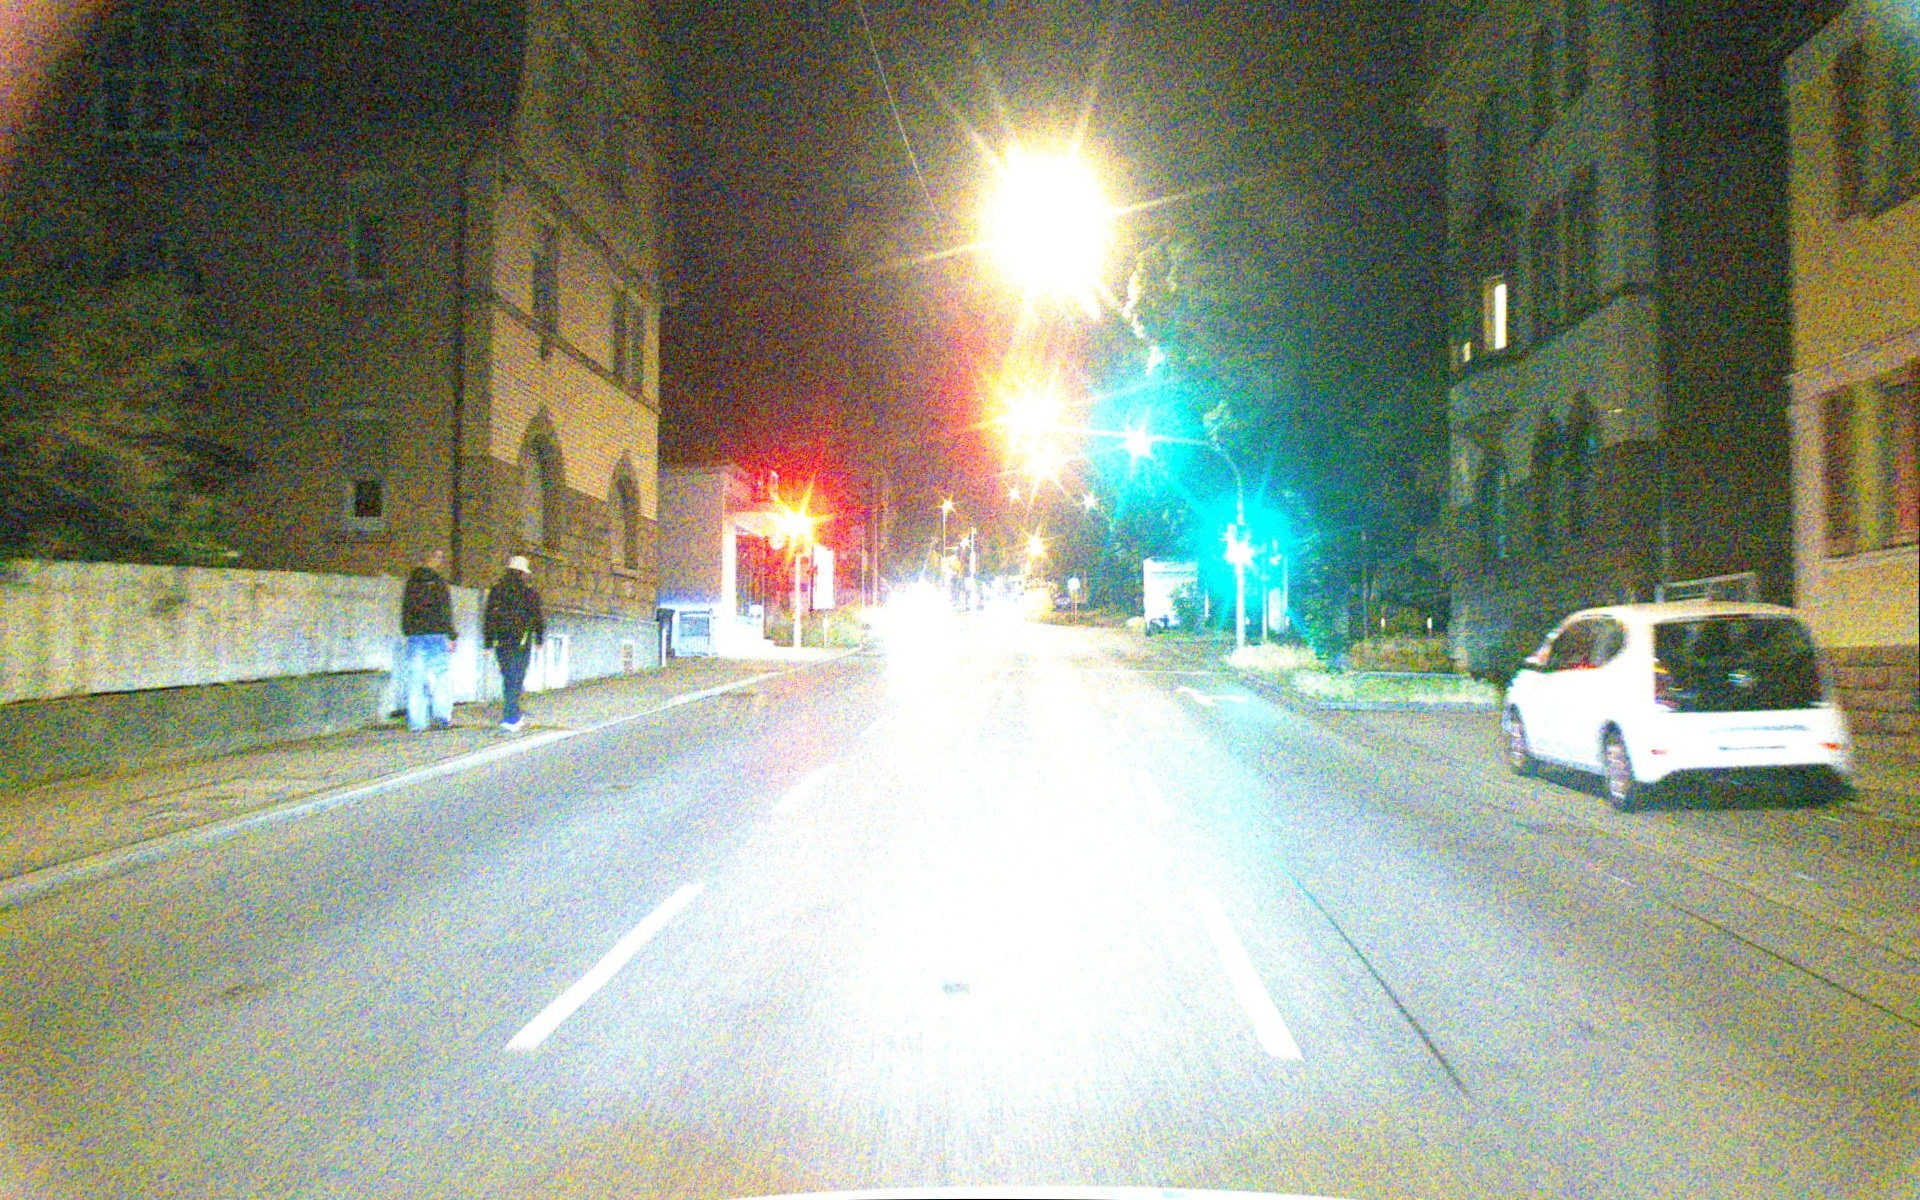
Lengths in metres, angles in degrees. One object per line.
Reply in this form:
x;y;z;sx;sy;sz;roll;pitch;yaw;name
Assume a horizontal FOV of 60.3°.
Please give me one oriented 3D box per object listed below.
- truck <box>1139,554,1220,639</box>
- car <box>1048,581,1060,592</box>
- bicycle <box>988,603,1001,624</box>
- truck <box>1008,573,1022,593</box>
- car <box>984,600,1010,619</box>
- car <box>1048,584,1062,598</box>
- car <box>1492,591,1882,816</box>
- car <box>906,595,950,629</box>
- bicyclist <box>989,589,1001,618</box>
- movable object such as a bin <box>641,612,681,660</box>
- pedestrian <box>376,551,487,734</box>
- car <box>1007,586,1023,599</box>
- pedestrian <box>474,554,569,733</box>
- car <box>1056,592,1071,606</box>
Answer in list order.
8.566;-0.134;65.040;2.692;3.165;6.261;0;0;3;truck
12.587;-1.754;222.032;1.600;1.477;3.486;0;0;3;car
1.980;0.762;93.562;0.681;1.169;1.951;0;0;3;bicycle
7.963;-2.492;240.417;2.043;2.897;5.832;0;0;1;truck
2.897;0.718;128.224;1.876;1.413;4.584;0;0;2;car
10.870;-1.035;189.832;1.600;1.477;3.486;0;0;3;car
5.668;0.717;13.382;1.633;1.510;3.604;-2;0;2;car
-1.467;0.538;77.356;1.818;1.561;4.029;0;0;3;car
1.974;0.194;93.493;0.676;1.666;0.896;0;0;3;bicyclist
-6.622;0.791;36.661;0.625;1.067;0.654;0;0;20;movable object such as a bin
-5.283;0.416;16.599;0.727;1.776;1.103;0;0;2;pedestrian
6.387;-0.896;191.382;1.777;1.517;4.001;0;0;1;car
-4.485;0.433;16.971;0.661;1.776;1.029;0;0;2;pedestrian
10.874;-0.148;173.928;1.600;1.477;3.486;0;0;3;car
